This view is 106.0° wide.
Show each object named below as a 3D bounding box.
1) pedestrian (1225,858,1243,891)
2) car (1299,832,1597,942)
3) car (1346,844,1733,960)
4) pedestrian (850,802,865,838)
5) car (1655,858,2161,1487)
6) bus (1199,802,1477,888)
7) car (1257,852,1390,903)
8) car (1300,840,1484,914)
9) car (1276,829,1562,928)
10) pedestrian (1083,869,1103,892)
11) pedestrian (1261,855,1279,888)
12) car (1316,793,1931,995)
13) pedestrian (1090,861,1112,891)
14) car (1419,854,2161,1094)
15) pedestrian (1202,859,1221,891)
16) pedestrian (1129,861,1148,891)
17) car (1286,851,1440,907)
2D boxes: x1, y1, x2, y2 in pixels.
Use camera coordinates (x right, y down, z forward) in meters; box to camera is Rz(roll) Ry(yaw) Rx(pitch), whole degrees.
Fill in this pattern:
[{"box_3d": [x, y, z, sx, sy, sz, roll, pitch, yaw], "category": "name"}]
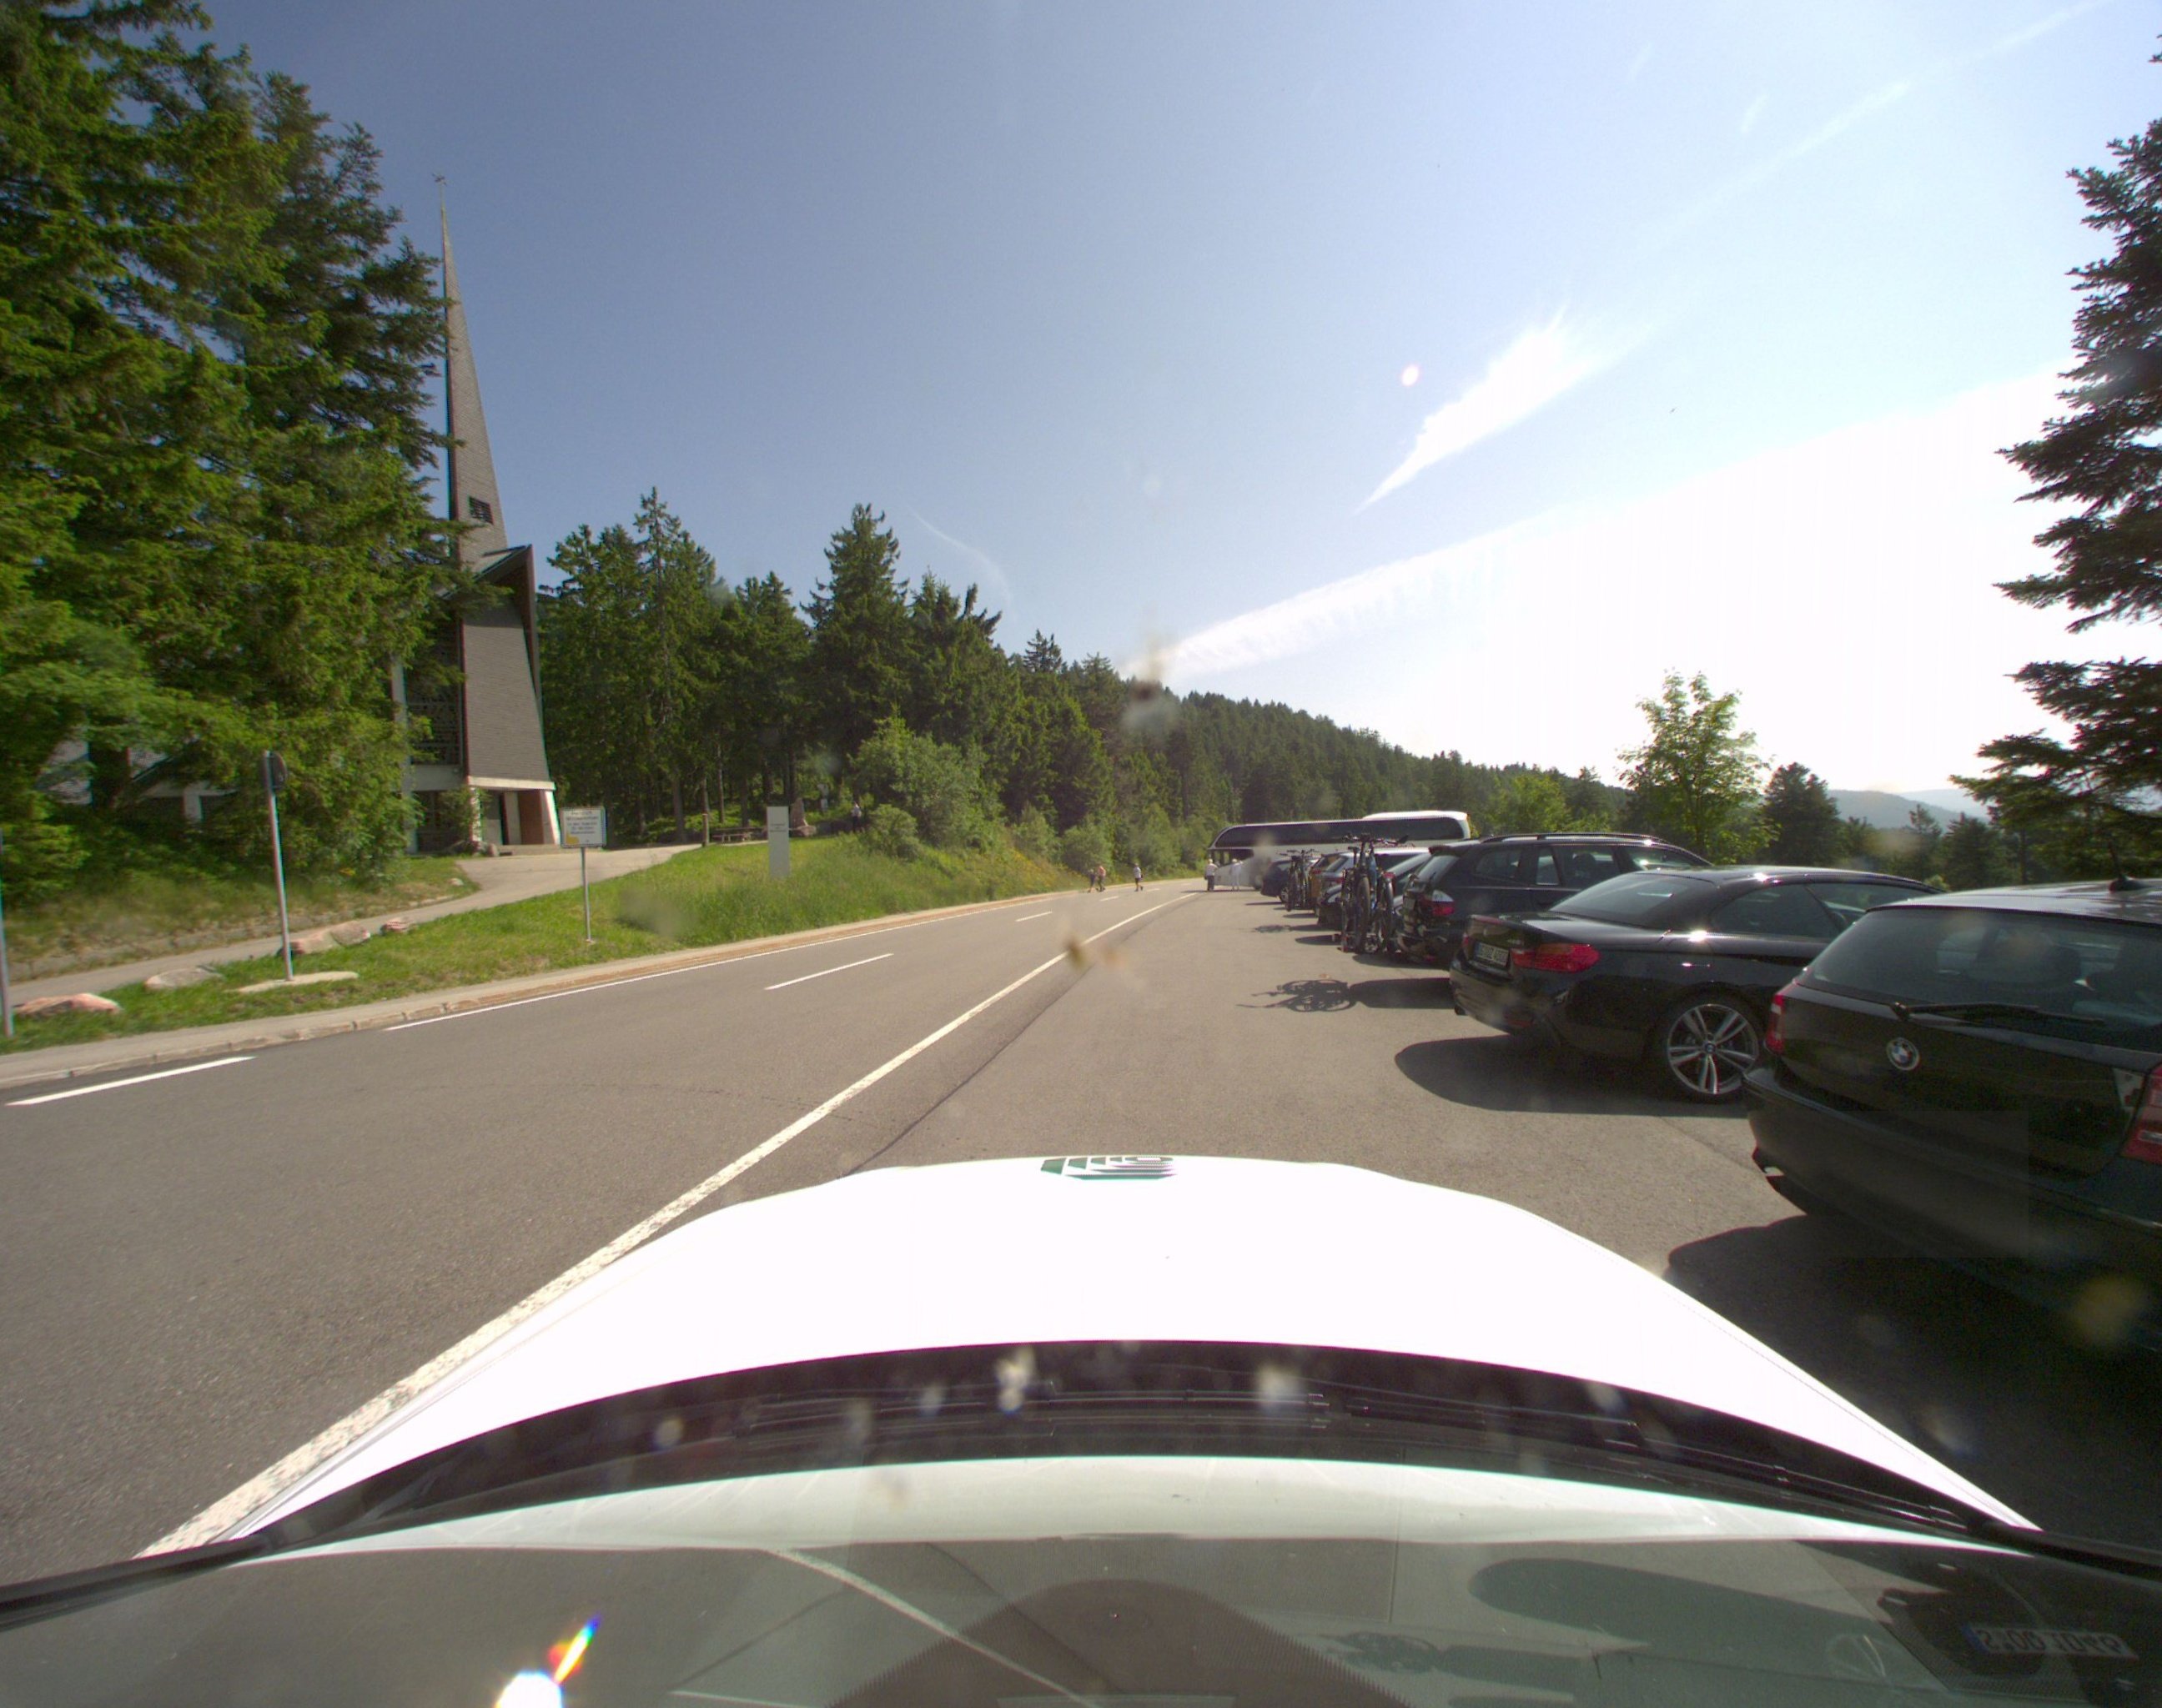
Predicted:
[{"box_3d": [7.725, 1.028, 41.094, 0.764, 1.585, 0.776, -3, -1, 16], "category": "pedestrian"}, {"box_3d": [6.002, 0.545, 13.828, 4.218, 1.554, 1.843, -3, -1, 9], "category": "car"}, {"box_3d": [5.994, 0.630, 11.181, 4.218, 1.269, 1.843, -3, -1, 9], "category": "car"}, {"box_3d": [-12.157, -1.847, 44.233, 0.682, 1.878, 0.538, -3, -1, -19], "category": "pedestrian"}, {"box_3d": [4.411, 0.697, 2.531, 4.068, 1.376, 1.702, 0, -1, 0], "category": "car"}, {"box_3d": [12.869, -0.341, 41.799, 12.984, 3.532, 3.059, -3, -1, 19], "category": "bus"}, {"box_3d": [7.949, 0.763, 27.031, 3.963, 1.449, 1.866, -3, -1, 9], "category": "car"}, {"box_3d": [7.588, 0.566, 20.228, 3.963, 1.554, 1.664, -3, -1, 9], "category": "car"}, {"box_3d": [6.656, 0.491, 16.639, 5.004, 1.651, 2.053, -3, -1, 9], "category": "car"}, {"box_3d": [0.686, 1.511, 46.841, 0.740, 1.279, 0.774, -2, -1, -38], "category": "pedestrian"}, {"box_3d": [9.520, 0.878, 41.051, 0.764, 1.585, 0.776, -3, -1, 17], "category": "pedestrian"}, {"box_3d": [5.114, 0.425, 8.487, 4.916, 1.695, 1.951, -3, -1, 11], "category": "car"}, {"box_3d": [1.164, 1.296, 47.854, 0.860, 1.683, 0.860, -2, -1, -37], "category": "pedestrian"}, {"box_3d": [4.701, 0.707, 5.612, 4.064, 1.376, 1.704, 0, -1, 3], "category": "car"}, {"box_3d": [6.654, 1.056, 41.522, 0.764, 1.585, 0.776, -3, -1, 16], "category": "pedestrian"}, {"box_3d": [3.245, 1.230, 45.657, 0.853, 1.585, 0.816, -3, -1, -7], "category": "pedestrian"}, {"box_3d": [8.105, 0.711, 23.687, 3.963, 1.398, 1.624, -3, -1, 9], "category": "car"}]
